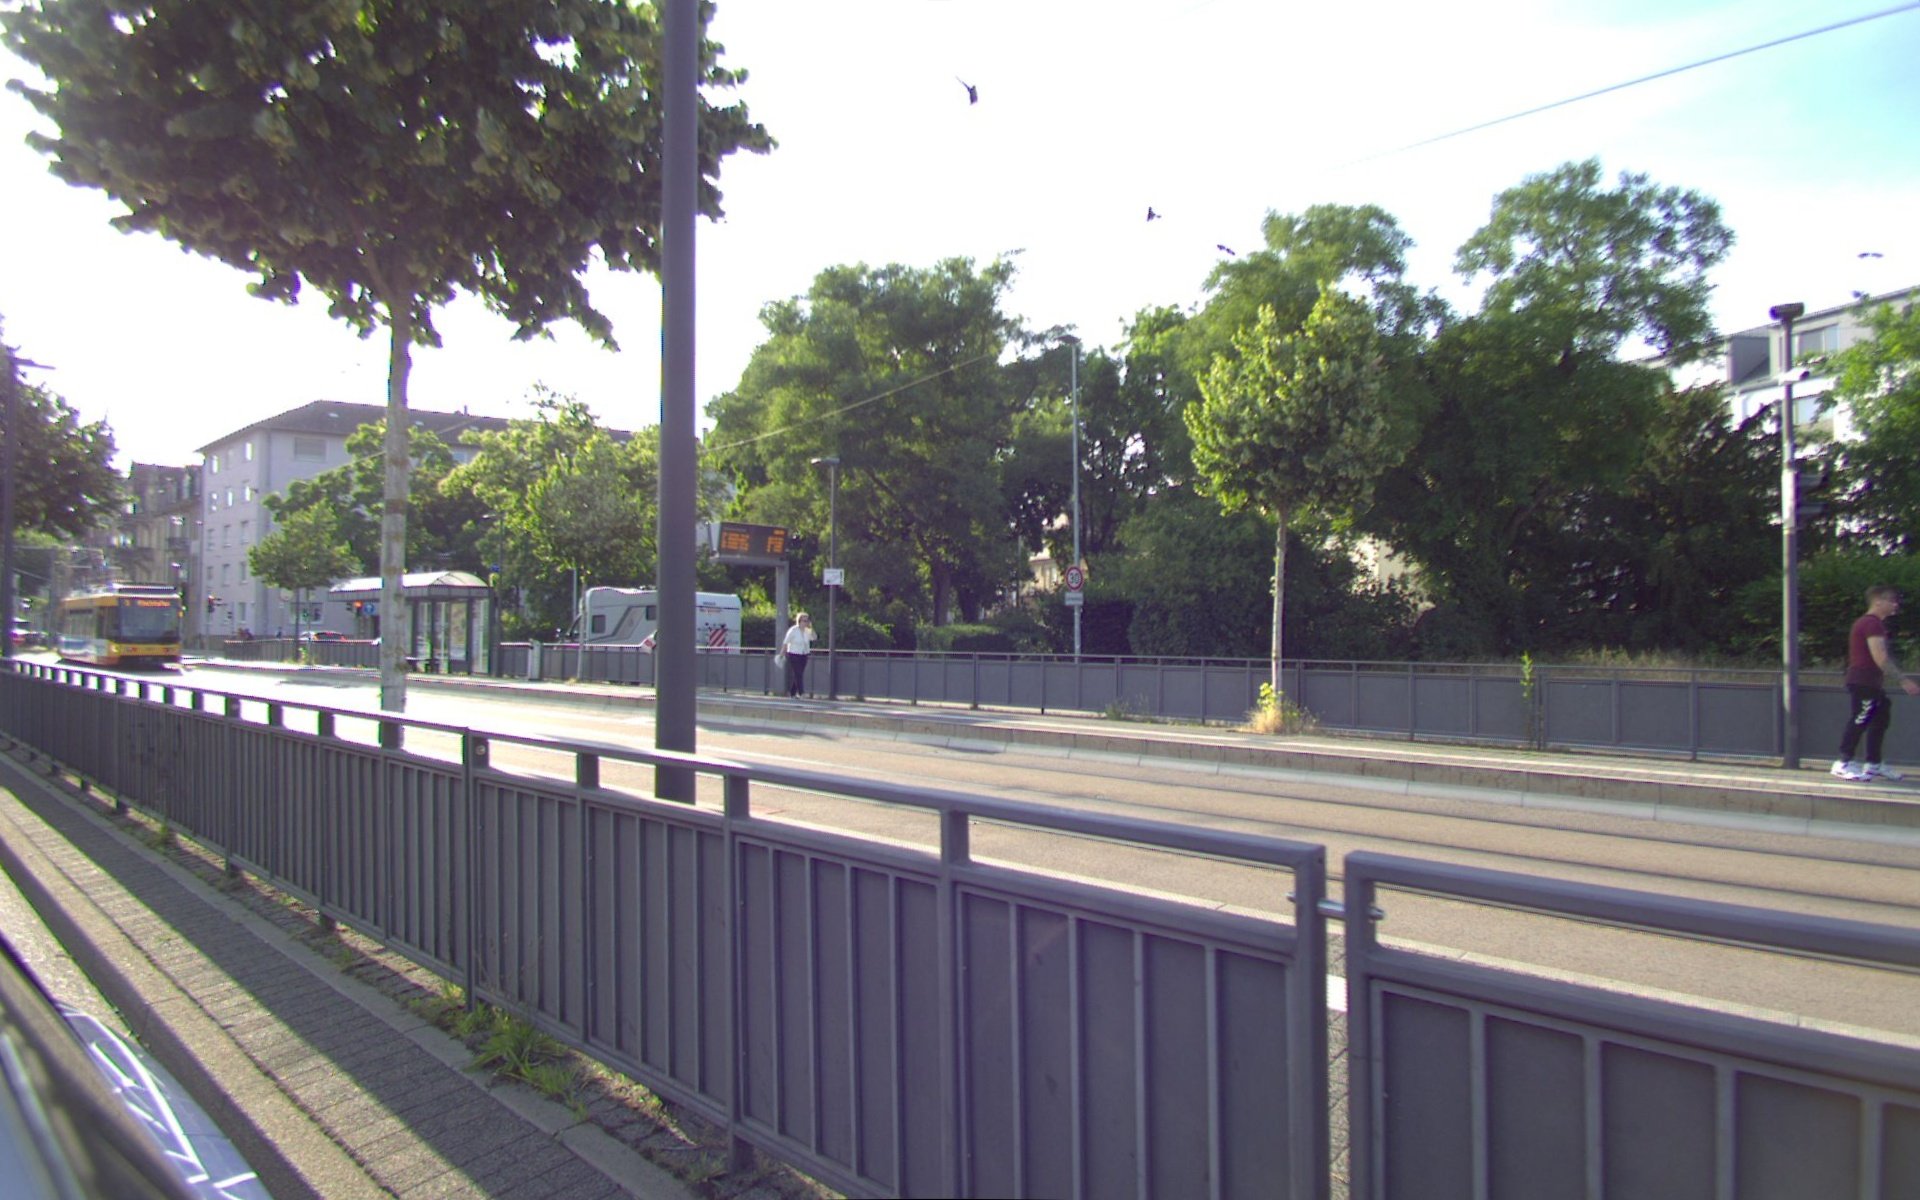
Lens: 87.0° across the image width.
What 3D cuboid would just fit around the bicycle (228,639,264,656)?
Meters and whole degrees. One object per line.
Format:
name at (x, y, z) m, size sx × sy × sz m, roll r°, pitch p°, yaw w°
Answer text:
bicycle at (-47.874, 3.163, 67.865) m, size 1.883 × 1.119 × 0.737 m, roll 1°, pitch -3°, yaw -28°

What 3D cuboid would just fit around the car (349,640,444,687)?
car at (-22.124, 2.439, 39.672) m, size 3.996 × 1.697 × 1.973 m, roll -2°, pitch -2°, yaw 40°

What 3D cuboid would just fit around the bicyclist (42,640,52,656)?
bicyclist at (-85.281, 4.481, 94.493) m, size 0.643 × 1.424 × 0.718 m, roll 1°, pitch -3°, yaw -44°

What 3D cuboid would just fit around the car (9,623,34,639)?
car at (-121.311, 3.962, 130.743) m, size 3.998 × 2.029 × 1.972 m, roll -2°, pitch -2°, yaw 42°

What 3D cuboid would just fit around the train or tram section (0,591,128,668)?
train or tram section at (-46.689, 1.582, 52.472) m, size 14.524 × 3.506 × 3.129 m, roll -2°, pitch -2°, yaw 41°

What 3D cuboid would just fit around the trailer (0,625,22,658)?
trailer at (-73.107, 3.146, 76.419) m, size 2.817 × 2.410 × 1.728 m, roll 0°, pitch -2°, yaw -17°

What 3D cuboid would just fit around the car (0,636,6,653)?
car at (-86.203, 3.895, 88.149) m, size 4.238 × 1.433 × 1.962 m, roll 0°, pitch -2°, yaw -7°

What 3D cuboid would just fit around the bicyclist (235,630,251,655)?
bicyclist at (-48.011, 2.847, 67.778) m, size 0.760 × 1.655 × 0.797 m, roll 1°, pitch -3°, yaw -28°

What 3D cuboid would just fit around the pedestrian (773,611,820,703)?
pedestrian at (-3.007, 1.054, 18.608) m, size 0.606 × 1.654 × 0.576 m, roll -2°, pitch -5°, yaw 36°

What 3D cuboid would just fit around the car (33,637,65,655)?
car at (-96.906, 4.865, 107.639) m, size 4.611 × 1.915 × 2.141 m, roll -2°, pitch -2°, yaw 43°

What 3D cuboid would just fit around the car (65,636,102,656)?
car at (-80.795, 4.198, 93.281) m, size 4.611 × 1.763 × 2.141 m, roll -2°, pitch -2°, yaw 43°

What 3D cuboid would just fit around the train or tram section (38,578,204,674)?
train or tram section at (-35.884, 1.171, 42.932) m, size 14.464 × 3.506 × 3.129 m, roll -2°, pitch -2°, yaw 41°

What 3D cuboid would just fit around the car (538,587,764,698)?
car at (-8.888, 1.167, 28.571) m, size 7.464 × 2.756 × 2.569 m, roll -2°, pitch -2°, yaw 41°

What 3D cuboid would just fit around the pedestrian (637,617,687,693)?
pedestrian at (-6.627, 1.217, 22.533) m, size 0.859 × 1.654 × 0.660 m, roll -2°, pitch -2°, yaw 24°

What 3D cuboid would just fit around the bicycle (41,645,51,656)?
bicycle at (-85.157, 4.692, 94.294) m, size 2.251 × 1.026 × 0.536 m, roll -2°, pitch -2°, yaw 44°

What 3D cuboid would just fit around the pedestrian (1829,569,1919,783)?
pedestrian at (8.015, 0.636, 8.705) m, size 0.772 × 1.746 × 0.827 m, roll -2°, pitch -3°, yaw 41°
